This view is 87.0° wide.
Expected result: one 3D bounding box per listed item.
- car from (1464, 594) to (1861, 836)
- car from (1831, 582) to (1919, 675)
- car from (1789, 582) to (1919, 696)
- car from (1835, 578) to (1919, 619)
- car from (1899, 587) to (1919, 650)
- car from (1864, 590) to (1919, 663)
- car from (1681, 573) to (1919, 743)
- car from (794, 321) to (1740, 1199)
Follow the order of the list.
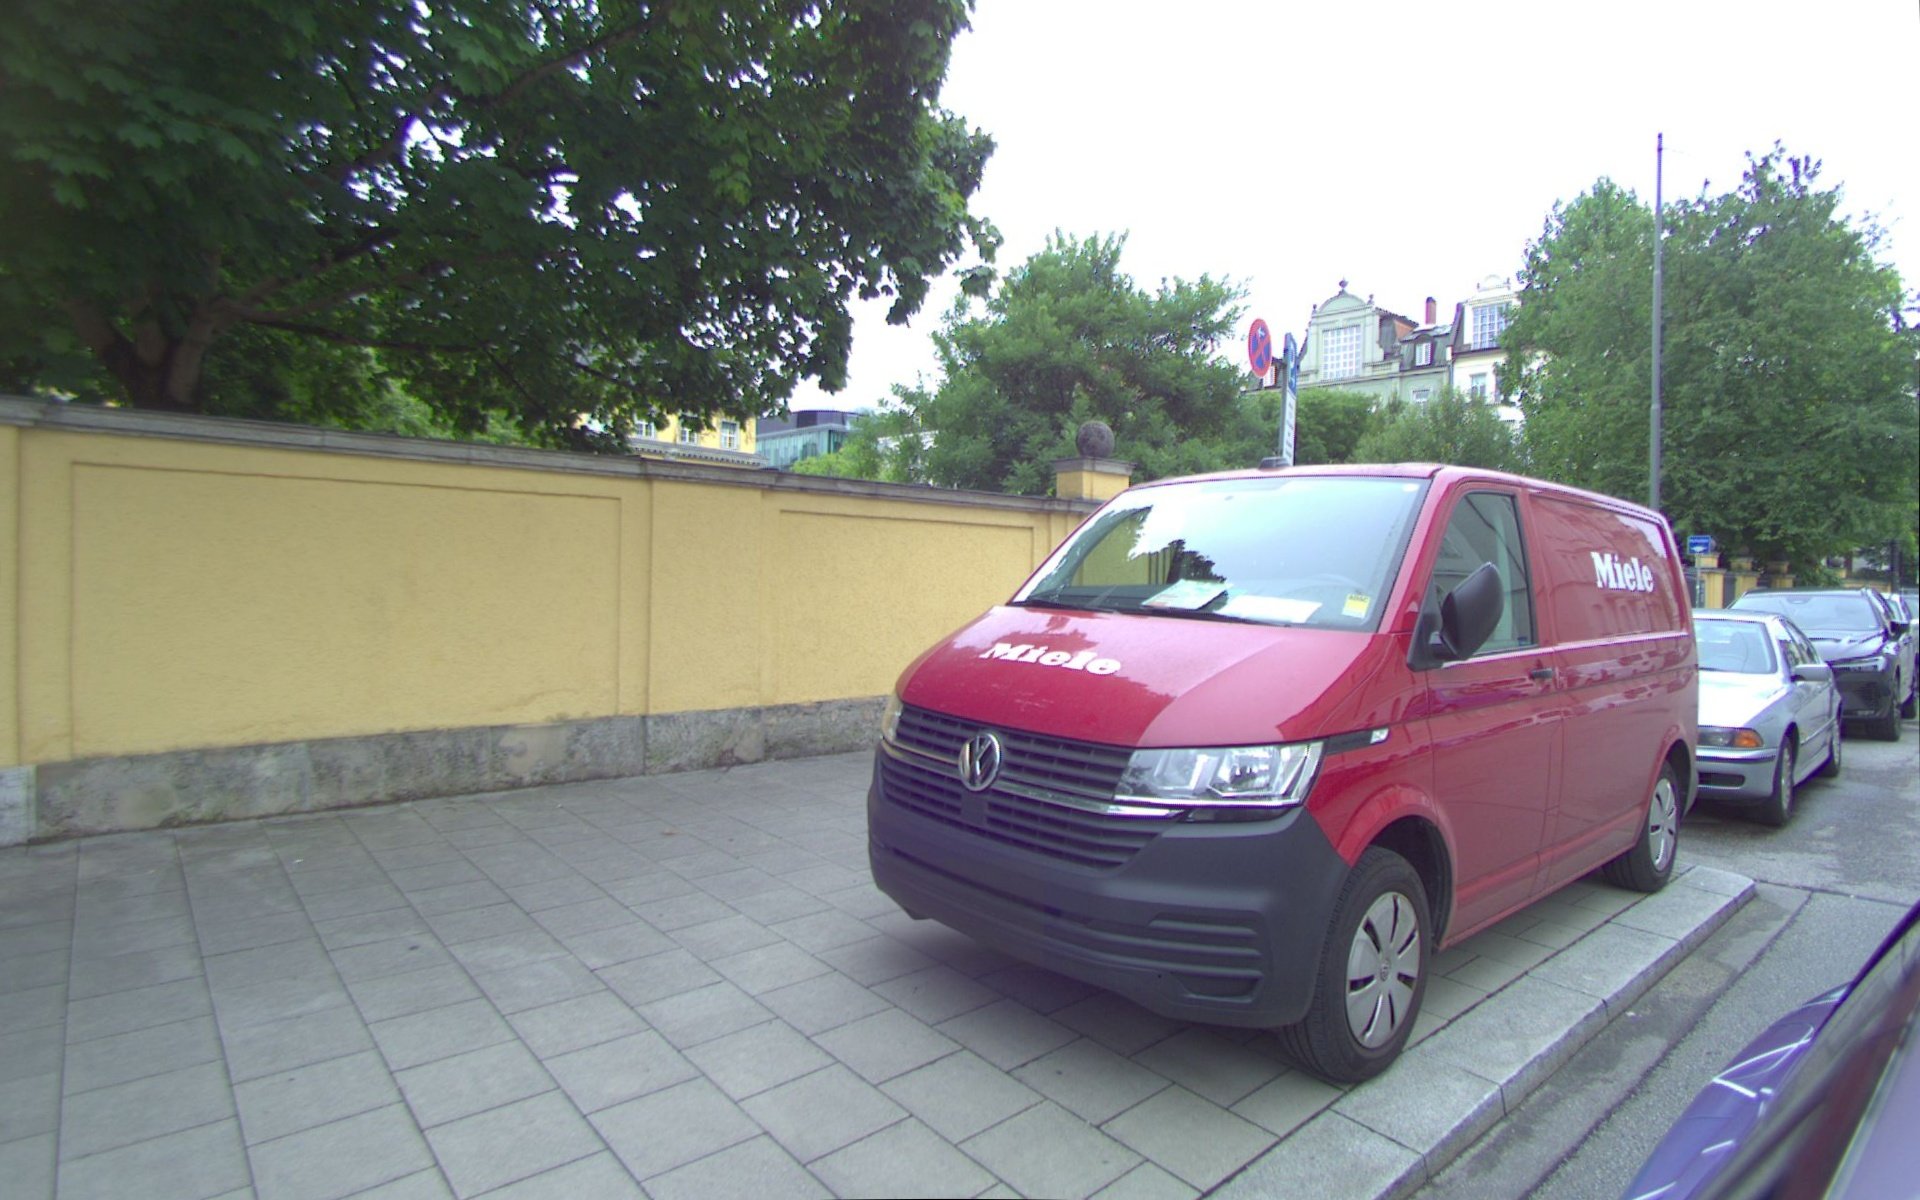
[{"bbox_3d":[5.959,0.695,8.358,4.296,1.467,1.886,0,0,-44],"label":"car"},{"bbox_3d":[17.213,0.476,18.498,2.818,1.586,1.511,0,0,-40],"label":"car"},{"bbox_3d":[13.992,0.521,15.566,3.631,1.559,1.485,0,0,-44],"label":"car"},{"bbox_3d":[46.302,-0.069,49.857,1.713,1.896,4.669,3,0,-44],"label":"car"},{"bbox_3d":[23.973,0.441,24.178,4.436,1.432,1.695,0,2,-40],"label":"car"},{"bbox_3d":[20.212,0.497,21.038,3.967,1.432,1.694,0,0,-42],"label":"car"},{"bbox_3d":[10.476,0.561,12.295,4.742,1.674,1.886,0,0,-43],"label":"car"},{"bbox_3d":[1.802,0.338,4.553,4.803,1.945,1.876,0,0,-42],"label":"car"}]
